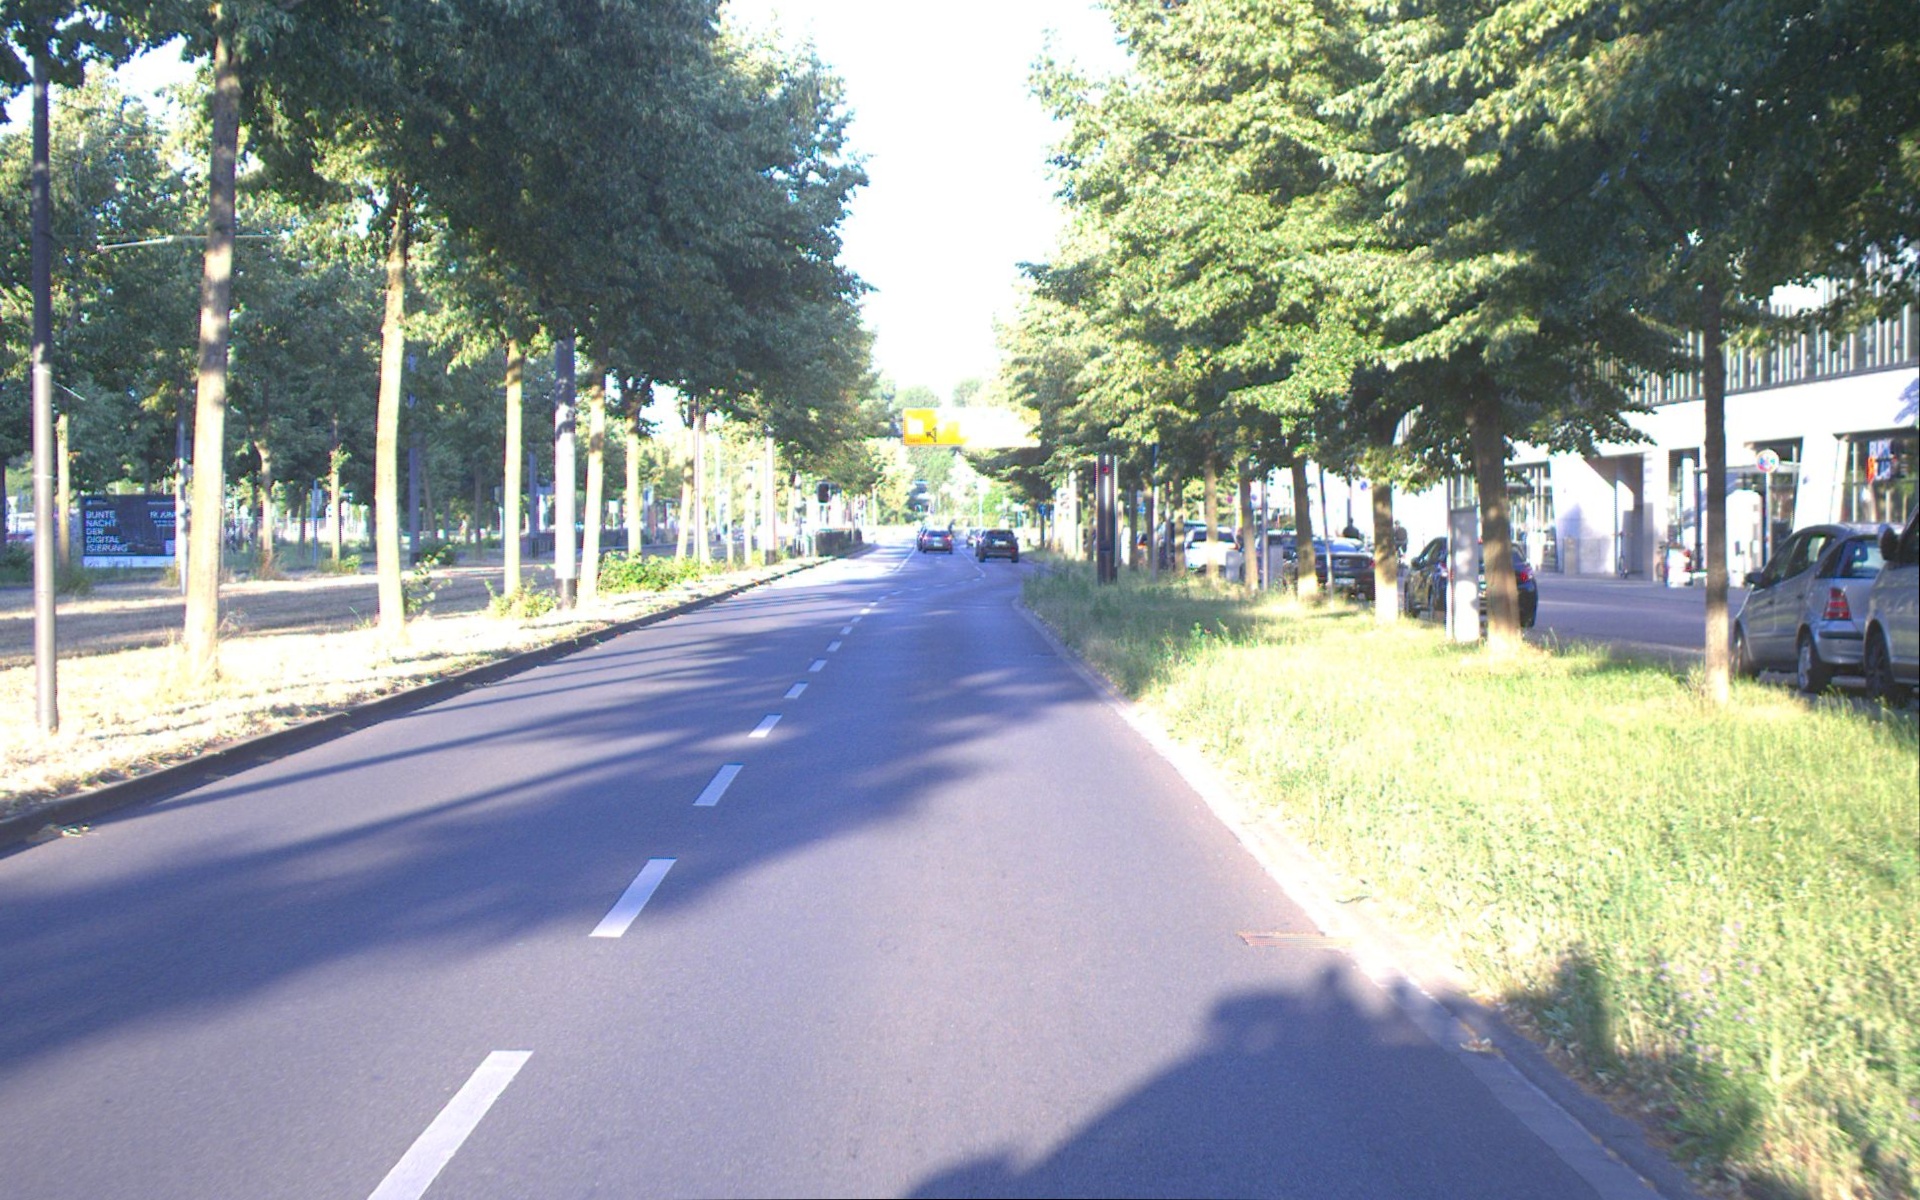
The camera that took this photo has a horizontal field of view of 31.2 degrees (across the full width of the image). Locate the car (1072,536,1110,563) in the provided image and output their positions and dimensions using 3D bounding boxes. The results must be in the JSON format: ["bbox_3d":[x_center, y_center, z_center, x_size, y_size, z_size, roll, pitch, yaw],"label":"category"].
[{"bbox_3d":[7.305,-2.810,191.746,1.756,1.461,4.159,0,1,-3],"label":"car"}]

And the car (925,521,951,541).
[{"bbox_3d":[-1.678,-5.187,258.385,1.911,1.481,4.000,0,1,-1],"label":"car"}]

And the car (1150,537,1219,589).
[{"bbox_3d":[8.082,-1.342,124.173,1.993,1.845,4.666,0,1,-2],"label":"car"}]

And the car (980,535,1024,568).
[{"bbox_3d":[1.910,-2.218,157.505,1.911,1.481,4.000,0,1,-1],"label":"car"}]

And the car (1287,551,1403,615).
[{"bbox_3d":[8.559,-0.404,76.806,1.852,1.362,4.835,0,1,-2],"label":"car"}]

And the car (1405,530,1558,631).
[{"bbox_3d":[8.426,-0.352,55.842,1.780,1.489,4.000,3,1,0],"label":"car"}]

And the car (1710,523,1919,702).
[{"bbox_3d":[8.511,0.083,32.478,1.838,1.565,4.061,1,1,-1],"label":"car"}]

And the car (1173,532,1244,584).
[{"bbox_3d":[8.039,-1.369,111.660,1.993,1.637,4.878,0,1,0],"label":"car"}]

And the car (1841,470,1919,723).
[{"bbox_3d":[8.525,-0.008,26.693,1.986,1.982,4.932,1,1,-1],"label":"car"}]

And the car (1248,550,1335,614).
[{"bbox_3d":[8.341,-0.466,86.796,1.709,1.510,3.759,2,1,-1],"label":"car"}]

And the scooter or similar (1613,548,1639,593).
[{"bbox_3d":[18.027,-0.794,93.062,0.472,1.207,1.229,0,1,1],"label":"scooter or similar"}]

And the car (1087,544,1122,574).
[{"bbox_3d":[7.142,-2.012,169.764,1.575,1.467,3.881,0,1,0],"label":"car"}]

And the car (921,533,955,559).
[{"bbox_3d":[-1.291,-3.127,198.640,1.911,1.481,4.000,0,1,-1],"label":"car"}]
